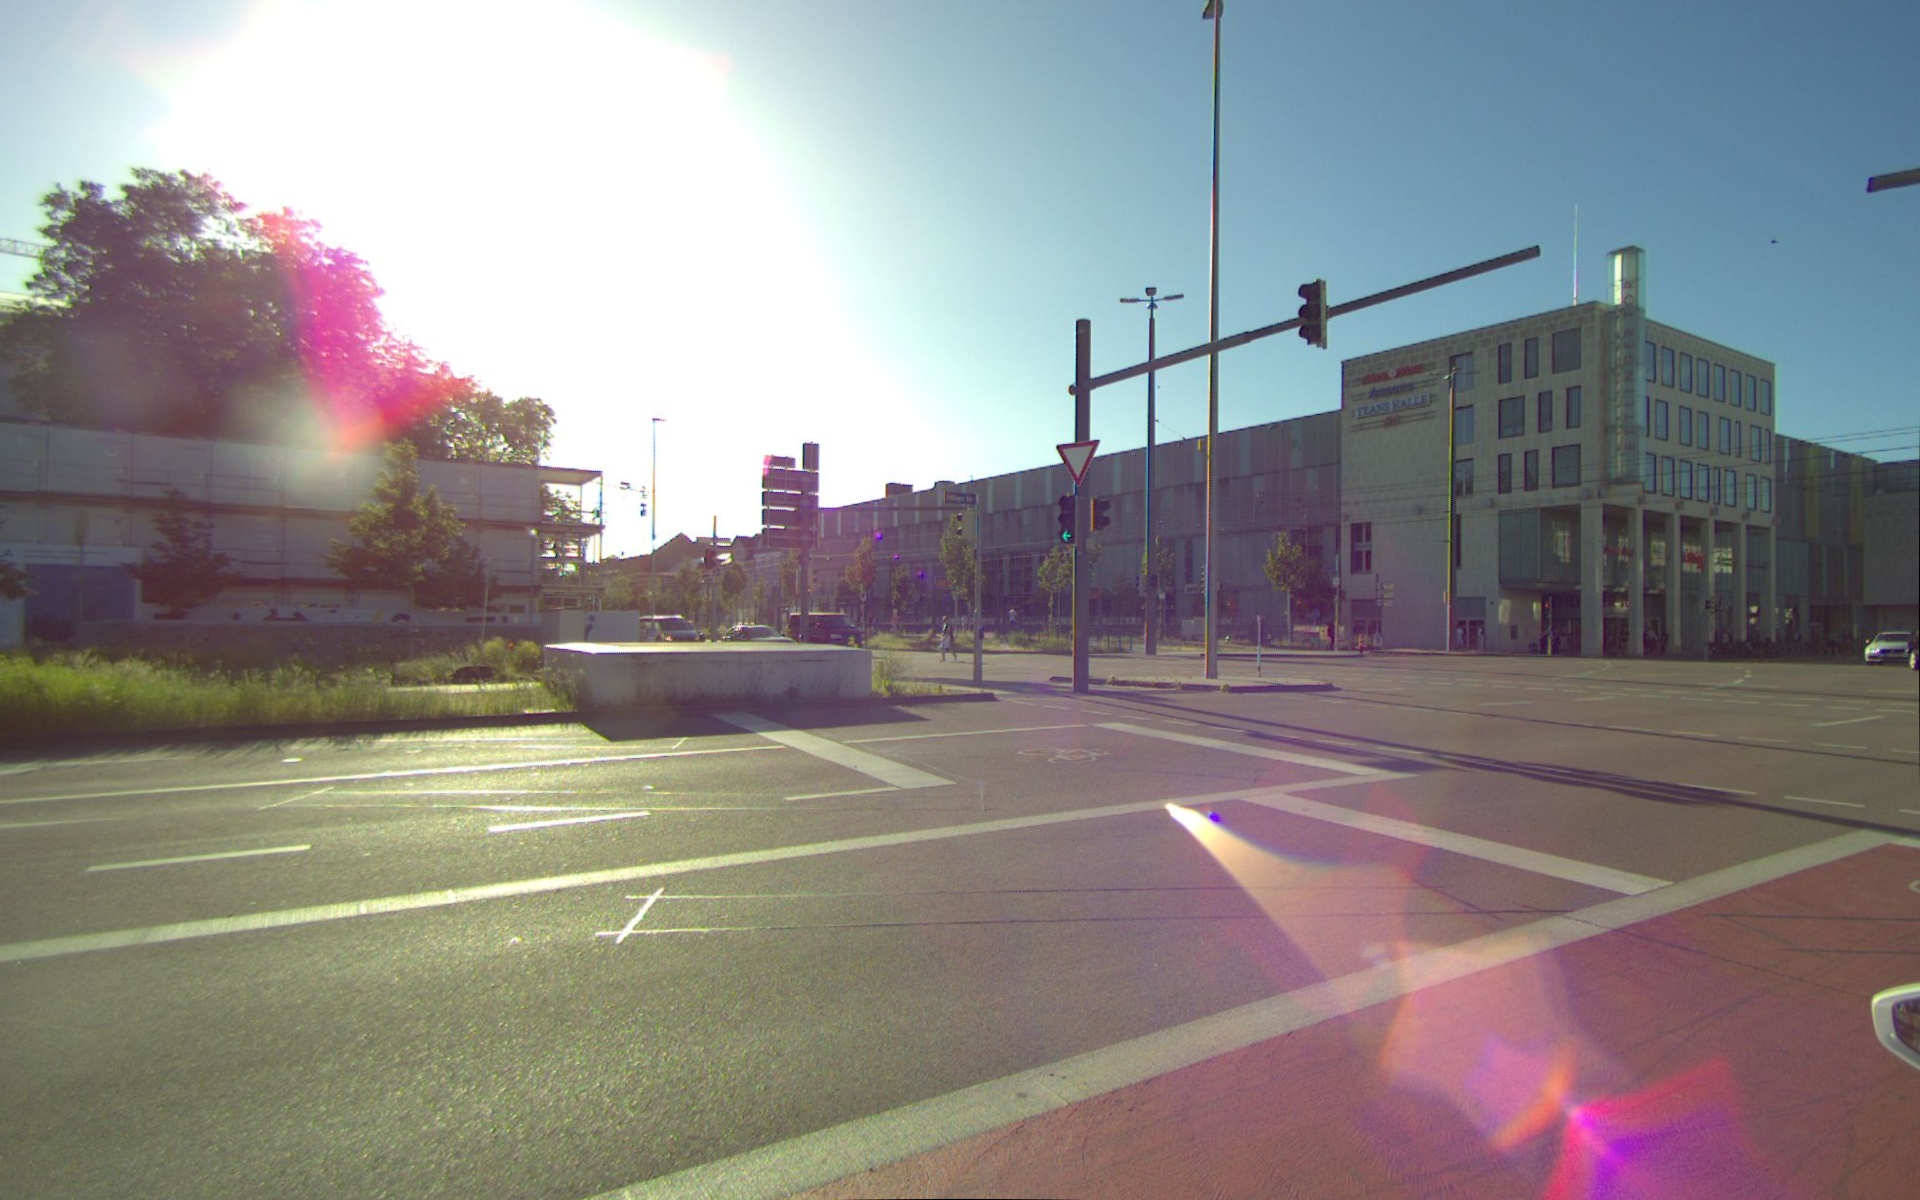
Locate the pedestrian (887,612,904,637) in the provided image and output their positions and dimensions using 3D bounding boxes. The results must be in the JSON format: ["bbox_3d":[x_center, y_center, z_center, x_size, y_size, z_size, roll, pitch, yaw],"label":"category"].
[{"bbox_3d":[-3.974,1.509,61.780,0.718,1.522,0.794,1,-1,-39],"label":"pedestrian"}]

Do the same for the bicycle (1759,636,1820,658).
[{"bbox_3d":[56.214,3.182,68.115,0.893,1.419,3.032,1,-2,-34],"label":"bicycle"}]

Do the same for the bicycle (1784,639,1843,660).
[{"bbox_3d":[59.867,3.437,70.529,0.893,1.419,3.032,1,-2,-34],"label":"bicycle"}]

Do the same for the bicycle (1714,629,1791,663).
[{"bbox_3d":[49.224,2.836,62.432,1.075,2.040,3.598,1,-2,-34],"label":"bicycle"}]

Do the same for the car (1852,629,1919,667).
[{"bbox_3d":[38.821,1.958,42.076,1.973,1.374,4.616,-1,0,44],"label":"car"}]

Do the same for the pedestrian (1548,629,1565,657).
[{"bbox_3d":[35.421,2.538,59.657,0.646,1.629,0.619,1,-1,-32],"label":"pedestrian"}]

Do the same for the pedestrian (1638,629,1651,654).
[{"bbox_3d":[45.343,2.736,66.552,0.613,1.629,0.653,0,-1,24],"label":"pedestrian"}]

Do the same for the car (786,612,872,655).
[{"bbox_3d":[-6.088,1.553,46.270,1.856,1.834,4.604,3,-3,-38],"label":"car"}]

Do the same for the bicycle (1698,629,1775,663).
[{"bbox_3d":[47.850,2.827,61.926,1.075,2.040,3.598,1,-2,-34],"label":"bicycle"}]

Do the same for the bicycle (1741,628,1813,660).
[{"bbox_3d":[53.986,2.899,66.406,0.893,2.040,3.598,1,-2,-34],"label":"bicycle"}]

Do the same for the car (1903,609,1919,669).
[{"bbox_3d":[29.626,1.155,29.681,1.968,1.766,4.629,-1,0,36],"label":"car"}]

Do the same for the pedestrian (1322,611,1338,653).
[{"bbox_3d":[18.202,1.550,49.374,0.620,2.040,0.509,1,-1,-44],"label":"pedestrian"}]

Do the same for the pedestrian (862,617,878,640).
[{"bbox_3d":[-5.963,1.874,66.516,0.718,1.522,0.794,1,-1,-39],"label":"pedestrian"}]

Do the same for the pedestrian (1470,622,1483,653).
[{"bbox_3d":[33.692,2.434,65.493,0.512,2.040,0.618,1,-1,-39],"label":"pedestrian"}]

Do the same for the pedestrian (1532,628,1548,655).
[{"bbox_3d":[34.957,2.490,60.555,0.646,1.629,0.619,1,-1,-32],"label":"pedestrian"}]

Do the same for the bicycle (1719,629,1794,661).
[{"bbox_3d":[51.269,2.858,64.712,1.075,2.040,3.598,1,-2,-34],"label":"bicycle"}]

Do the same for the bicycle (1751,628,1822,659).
[{"bbox_3d":[55.469,2.892,67.480,0.893,2.040,3.598,1,-2,-34],"label":"bicycle"}]

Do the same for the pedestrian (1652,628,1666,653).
[{"bbox_3d":[46.269,2.677,66.517,0.613,1.629,0.653,0,-1,24],"label":"pedestrian"}]

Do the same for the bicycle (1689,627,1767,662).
[{"bbox_3d":[46.746,2.687,61.197,1.077,2.040,3.593,1,-2,-38],"label":"bicycle"}]

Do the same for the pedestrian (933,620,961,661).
[{"bbox_3d":[-0.476,1.512,37.590,0.796,1.522,0.716,1,-1,-40],"label":"pedestrian"}]

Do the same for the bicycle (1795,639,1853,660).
[{"bbox_3d":[61.459,3.517,71.500,0.893,1.419,3.032,1,-2,-34],"label":"bicycle"}]

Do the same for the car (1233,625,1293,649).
[{"bbox_3d":[20.899,2.527,69.335,1.763,1.584,3.753,1,-1,-34],"label":"car"}]

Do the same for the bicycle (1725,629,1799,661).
[{"bbox_3d":[52.174,2.894,65.413,1.075,2.040,3.598,1,-2,-34],"label":"bicycle"}]

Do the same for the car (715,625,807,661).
[{"bbox_3d":[-8.377,1.792,42.020,1.856,1.392,4.604,3,-3,-38],"label":"car"}]

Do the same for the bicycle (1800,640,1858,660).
[{"bbox_3d":[62.563,3.592,72.380,0.893,1.419,3.032,1,-2,-34],"label":"bicycle"}]

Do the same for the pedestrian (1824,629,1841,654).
[{"bbox_3d":[57.339,2.717,66.012,0.731,1.629,0.623,0,-1,32],"label":"pedestrian"}]

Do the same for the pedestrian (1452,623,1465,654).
[{"bbox_3d":[32.298,2.479,65.078,0.512,2.040,0.618,1,-1,-39],"label":"pedestrian"}]

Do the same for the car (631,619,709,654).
[{"bbox_3d":[-14.390,1.816,49.736,2.119,1.631,4.604,3,-3,-38],"label":"car"}]

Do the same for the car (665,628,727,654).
[{"bbox_3d":[-15.581,2.380,59.076,1.856,1.450,4.604,3,-3,-38],"label":"car"}]
